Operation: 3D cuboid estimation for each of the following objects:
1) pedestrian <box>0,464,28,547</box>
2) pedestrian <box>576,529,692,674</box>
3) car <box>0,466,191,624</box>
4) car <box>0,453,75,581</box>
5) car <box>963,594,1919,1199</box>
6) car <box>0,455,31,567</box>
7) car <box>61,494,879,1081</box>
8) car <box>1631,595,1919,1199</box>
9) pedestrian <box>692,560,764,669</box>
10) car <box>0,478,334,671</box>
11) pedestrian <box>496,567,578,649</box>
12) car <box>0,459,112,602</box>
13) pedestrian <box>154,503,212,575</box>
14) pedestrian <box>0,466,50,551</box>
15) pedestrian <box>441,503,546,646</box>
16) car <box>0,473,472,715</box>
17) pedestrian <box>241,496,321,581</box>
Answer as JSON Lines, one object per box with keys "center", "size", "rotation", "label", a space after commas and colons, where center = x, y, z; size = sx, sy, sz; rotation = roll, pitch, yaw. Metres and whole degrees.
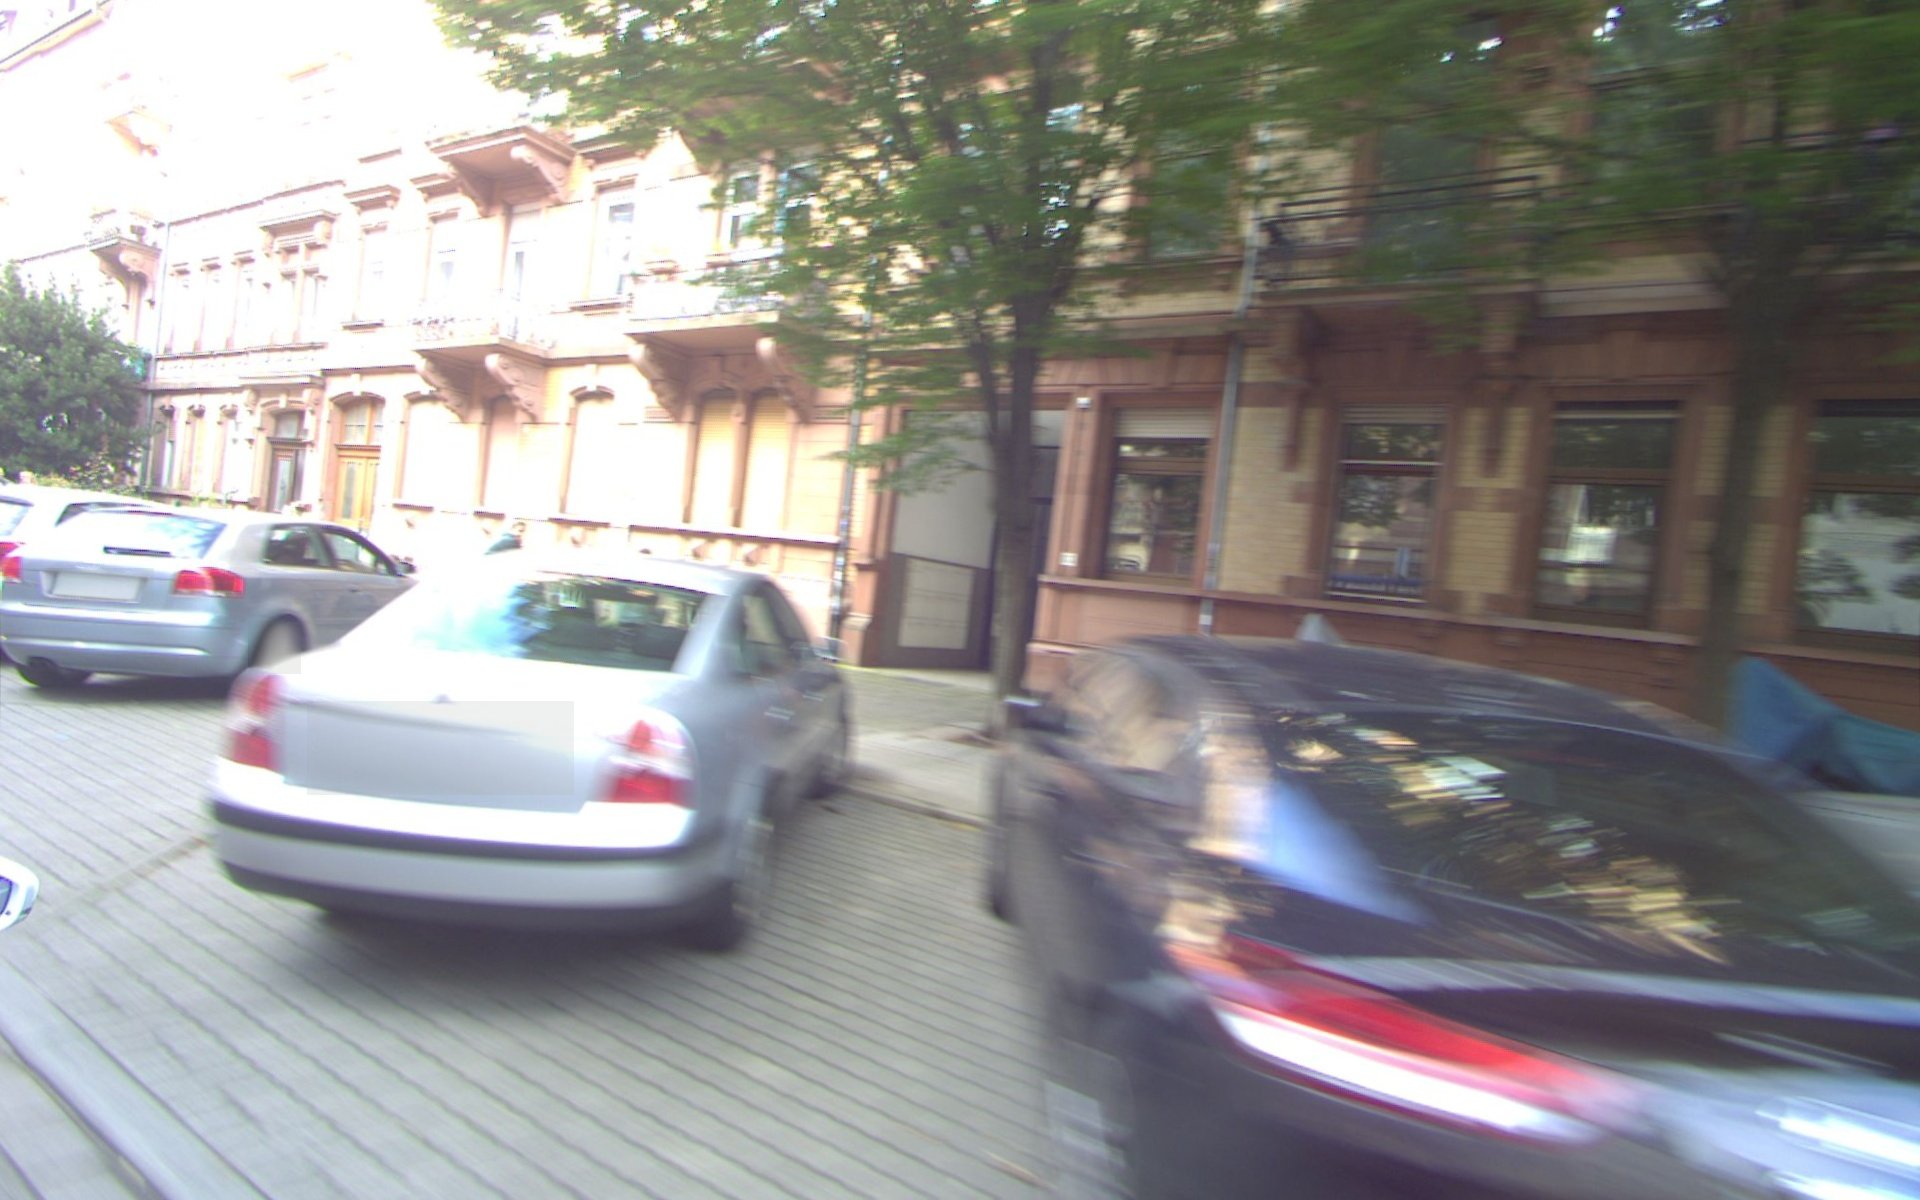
{"center": [-20.498, -2.033, 21.321], "size": [0.687, 1.715, 0.647], "rotation": [7, 0, -11], "label": "pedestrian"}
{"center": [-3.771, 0.017, 11.697], "size": [0.986, 1.521, 0.719], "rotation": [7, 1, -6], "label": "pedestrian"}
{"center": [-10.571, -0.666, 10.692], "size": [1.835, 1.569, 3.993], "rotation": [6, 2, -4], "label": "car"}
{"center": [-14.798, -1.261, 13.557], "size": [1.722, 1.847, 4.400], "rotation": [6, 2, 1], "label": "car"}
{"center": [1.110, 0.828, 3.252], "size": [1.835, 1.435, 4.134], "rotation": [7, 0, -3], "label": "car"}
{"center": [-17.643, -1.622, 15.436], "size": [1.779, 1.809, 4.637], "rotation": [9, 4, 31], "label": "car"}
{"center": [-1.578, 0.481, 5.127], "size": [1.759, 1.471, 4.608], "rotation": [6, 2, 1], "label": "car"}
{"center": [3.569, 0.980, 1.749], "size": [1.819, 1.720, 3.997], "rotation": [7, 1, -2], "label": "car"}
{"center": [-2.979, 0.193, 12.982], "size": [0.707, 1.295, 0.570], "rotation": [6, -1, -6], "label": "pedestrian"}
{"center": [-8.138, -0.342, 9.640], "size": [1.703, 1.470, 3.995], "rotation": [5, 3, 1], "label": "car"}
{"center": [-5.445, 0.102, 12.939], "size": [0.782, 0.973, 0.554], "rotation": [6, 2, 30], "label": "pedestrian"}
{"center": [-12.787, -0.953, 11.978], "size": [1.805, 1.763, 3.998], "rotation": [6, 1, 2], "label": "car"}
{"center": [-14.188, -1.110, 18.368], "size": [0.662, 1.236, 0.600], "rotation": [7, 4, 32], "label": "pedestrian"}
{"center": [-19.819, -1.940, 21.260], "size": [0.622, 1.679, 0.574], "rotation": [7, 0, 33], "label": "pedestrian"}
{"center": [-5.725, -0.302, 12.355], "size": [0.819, 1.655, 0.731], "rotation": [6, 2, 30], "label": "pedestrian"}
{"center": [-6.019, -0.115, 8.576], "size": [1.853, 1.480, 3.995], "rotation": [5, 2, -3], "label": "car"}
{"center": [-13.269, -1.196, 19.658], "size": [0.798, 1.516, 0.929], "rotation": [7, 2, 26], "label": "pedestrian"}
